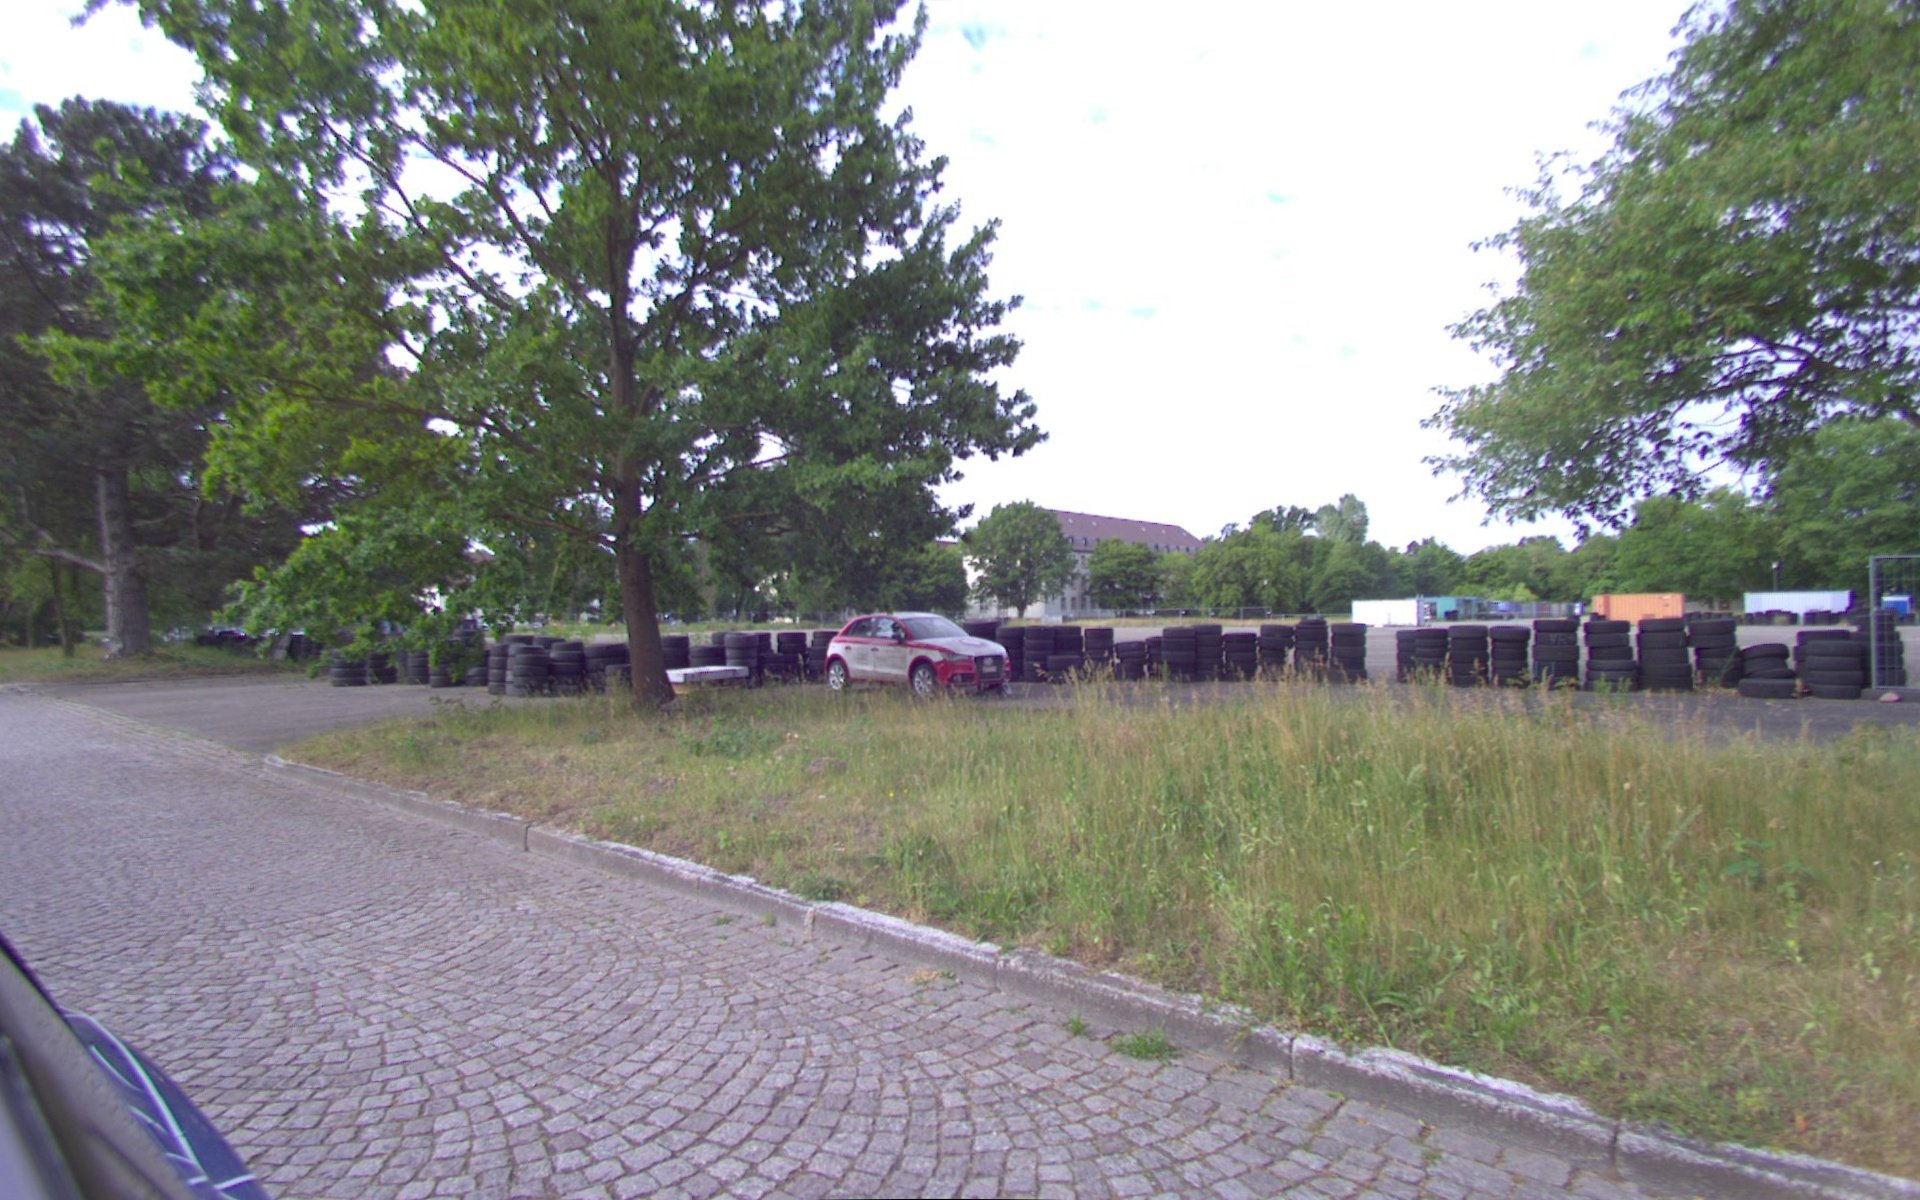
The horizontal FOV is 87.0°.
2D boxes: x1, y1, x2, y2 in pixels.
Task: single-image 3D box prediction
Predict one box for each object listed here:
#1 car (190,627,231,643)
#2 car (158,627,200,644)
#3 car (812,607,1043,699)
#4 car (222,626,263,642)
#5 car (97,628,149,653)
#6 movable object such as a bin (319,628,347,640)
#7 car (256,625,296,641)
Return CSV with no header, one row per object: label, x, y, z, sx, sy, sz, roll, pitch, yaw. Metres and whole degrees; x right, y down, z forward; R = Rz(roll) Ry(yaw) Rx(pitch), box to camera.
car,-69.330,3.225,93.580,4.446,1.460,1.975,-2,-1,38
car,-70.579,3.232,91.383,4.446,1.460,1.975,-2,-1,38
car,-0.688,0.897,18.153,1.802,1.442,4.223,0,-1,-43
car,-67.746,3.213,95.582,4.446,1.460,1.975,-2,-1,38
car,-48.840,2.356,59.057,3.719,1.421,1.649,-2,-1,39
movable object such as a bin,-56.019,3.026,90.414,2.712,1.079,1.046,-2,-1,33
car,-66.293,3.204,98.093,4.446,1.460,1.975,-2,-1,38
